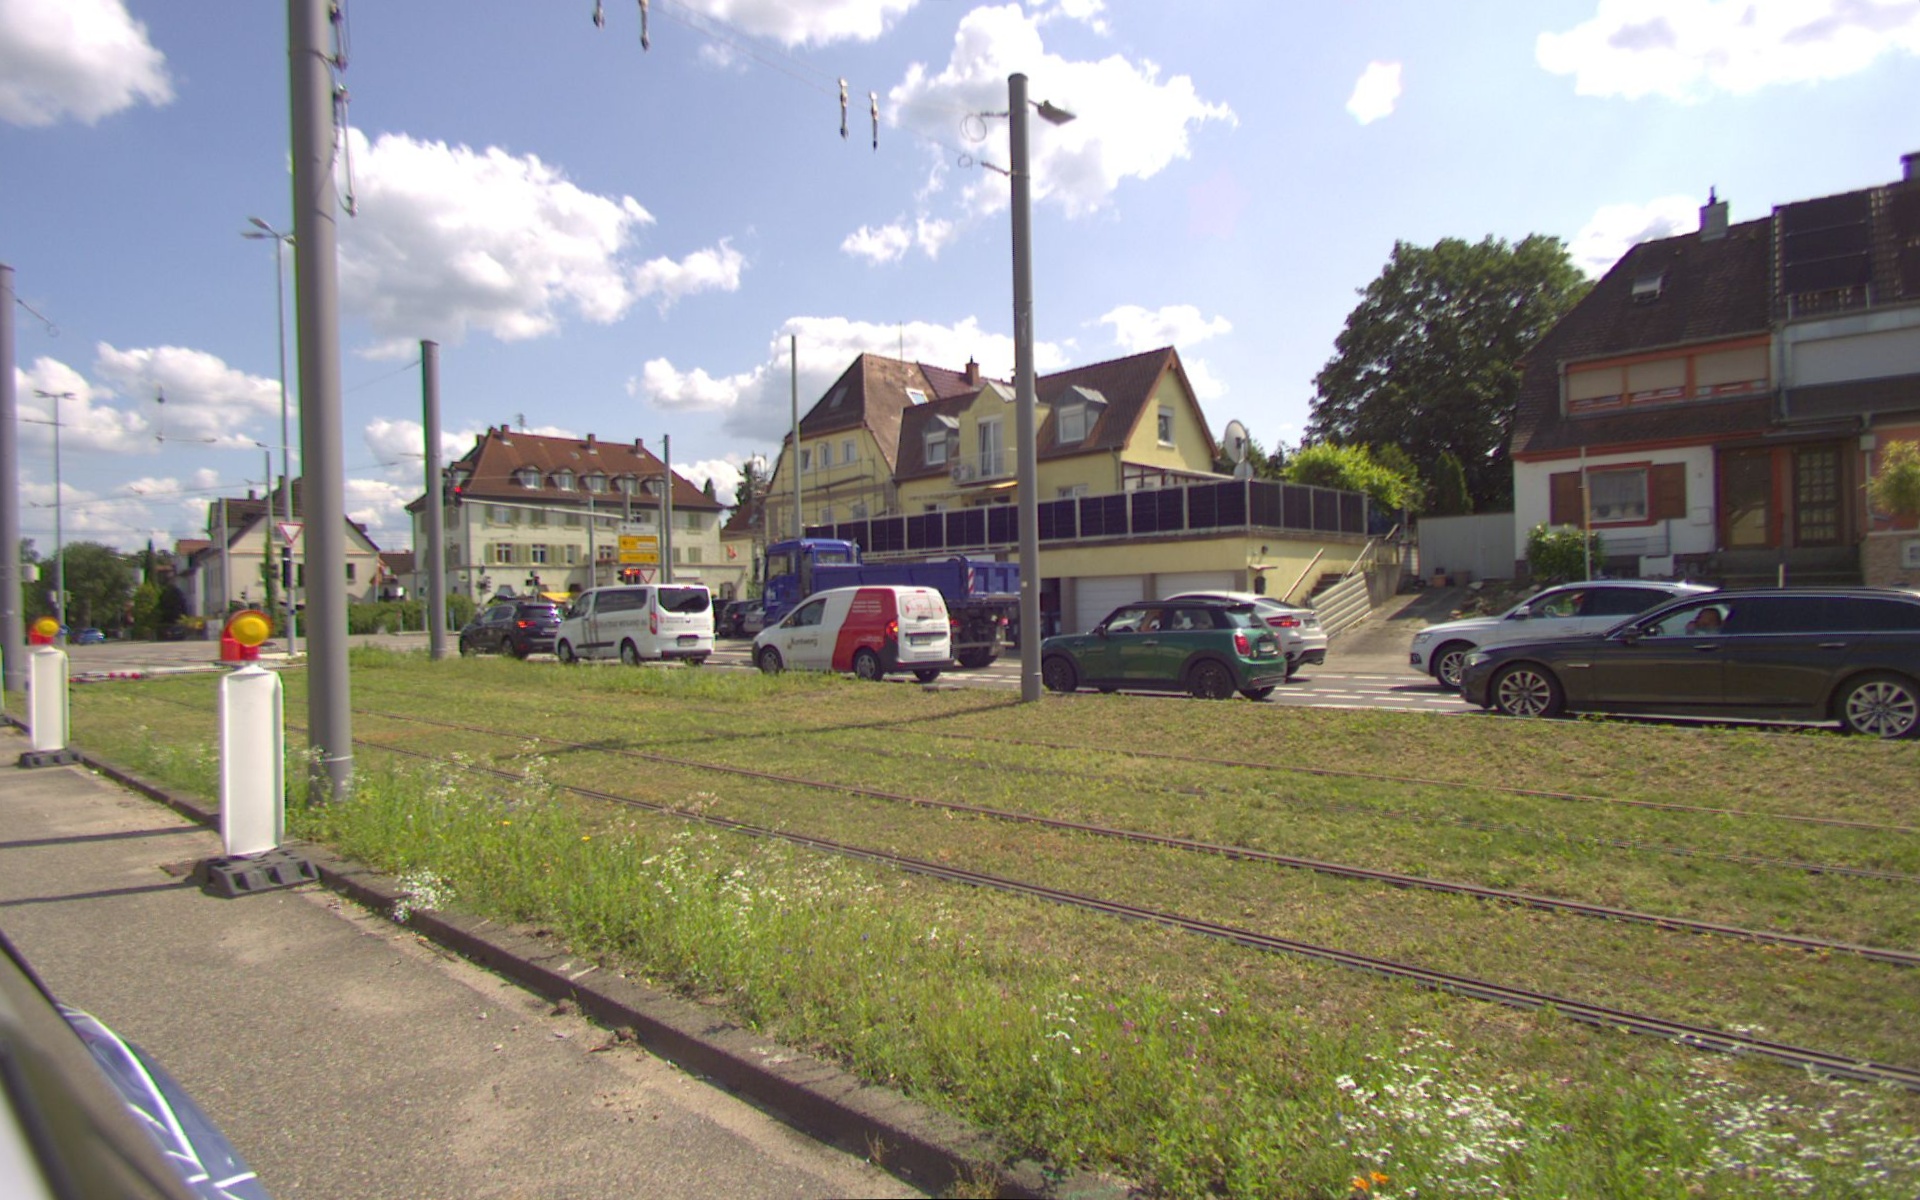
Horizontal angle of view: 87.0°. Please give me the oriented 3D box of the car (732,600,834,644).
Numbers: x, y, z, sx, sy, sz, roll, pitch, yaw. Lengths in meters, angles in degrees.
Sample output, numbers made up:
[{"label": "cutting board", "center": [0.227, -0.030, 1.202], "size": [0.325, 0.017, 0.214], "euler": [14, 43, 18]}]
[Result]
[{"label": "car", "center": [-7.094, 0.857, 40.962], "size": [1.433, 1.504, 4.094], "euler": [-2, 1, 39]}]

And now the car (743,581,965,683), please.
[{"label": "car", "center": [-2.161, 0.595, 19.811], "size": [4.400, 1.795, 1.715], "euler": [-2, -1, 39]}]

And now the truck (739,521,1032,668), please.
[{"label": "truck", "center": [-2.079, -0.072, 25.607], "size": [7.575, 3.212, 2.741], "euler": [-1, 0, 39]}]

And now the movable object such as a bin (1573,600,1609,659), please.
[{"label": "movable object such as a bin", "center": [12.995, 0.595, 20.838], "size": [0.573, 1.193, 0.441], "euler": [-2, -1, 35]}]

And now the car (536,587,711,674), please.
[{"label": "car", "center": [-8.327, 0.725, 24.836], "size": [4.743, 1.936, 1.796], "euler": [-2, 0, 39]}]

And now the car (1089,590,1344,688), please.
[{"label": "car", "center": [4.882, 0.711, 19.637], "size": [4.436, 1.672, 1.824], "euler": [-2, 0, 42]}]

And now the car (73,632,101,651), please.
[{"label": "car", "center": [-74.253, 3.539, 86.106], "size": [1.685, 1.473, 3.158], "euler": [-1, -1, -43]}]

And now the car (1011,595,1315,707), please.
[{"label": "car", "center": [2.936, 0.698, 15.045], "size": [3.996, 1.429, 1.896], "euler": [-2, 0, 40]}]

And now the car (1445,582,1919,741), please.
[{"label": "car", "center": [8.008, 0.569, 10.679], "size": [4.912, 1.424, 1.825], "euler": [-2, 0, 40]}]

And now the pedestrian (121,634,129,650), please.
[{"label": "pedestrian", "center": [-82.636, 4.146, 100.166], "size": [0.622, 1.547, 0.619], "euler": [-1, -1, -41]}]

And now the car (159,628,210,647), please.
[{"label": "car", "center": [-62.937, 3.021, 82.209], "size": [1.733, 1.397, 4.112], "euler": [-2, -1, -13]}]

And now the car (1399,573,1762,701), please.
[{"label": "car", "center": [9.324, 0.526, 15.422], "size": [4.501, 1.681, 1.825], "euler": [-2, 0, 40]}]

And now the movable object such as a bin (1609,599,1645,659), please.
[{"label": "movable object such as a bin", "center": [13.498, 0.580, 20.475], "size": [0.573, 1.205, 0.441], "euler": [-2, -1, 35]}]

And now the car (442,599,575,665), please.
[{"label": "car", "center": [-13.068, 0.937, 29.194], "size": [4.438, 1.734, 1.768], "euler": [-3, -1, 41]}]
